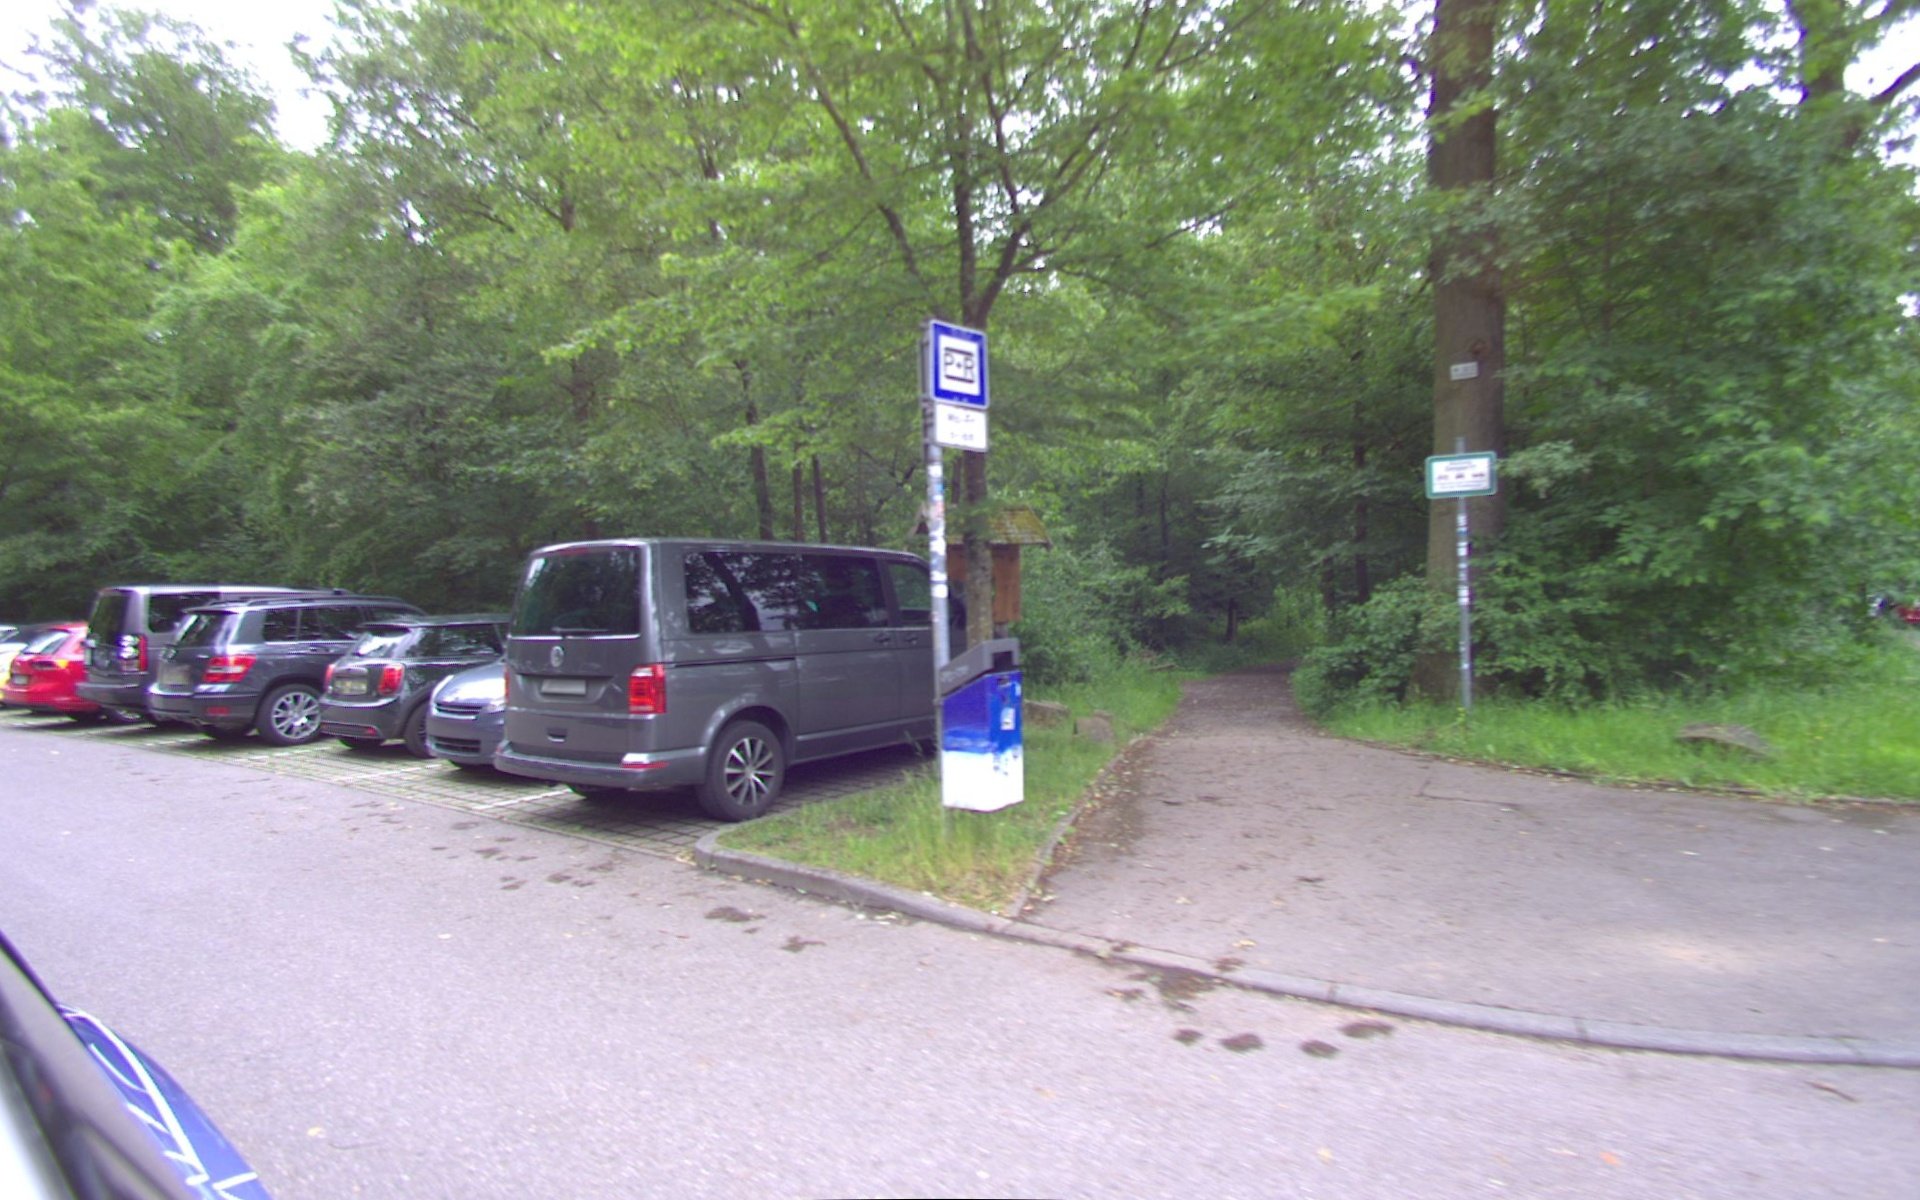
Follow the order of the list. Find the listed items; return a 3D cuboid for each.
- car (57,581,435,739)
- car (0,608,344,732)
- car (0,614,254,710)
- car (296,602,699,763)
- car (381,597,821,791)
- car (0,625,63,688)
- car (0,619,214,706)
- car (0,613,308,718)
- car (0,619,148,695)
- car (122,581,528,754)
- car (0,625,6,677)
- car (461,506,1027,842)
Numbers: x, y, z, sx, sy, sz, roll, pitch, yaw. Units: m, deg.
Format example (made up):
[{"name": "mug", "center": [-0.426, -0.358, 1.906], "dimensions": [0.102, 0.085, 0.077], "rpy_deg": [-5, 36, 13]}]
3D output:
[{"name": "car", "center": [-9.813, 0.727, 14.217], "dimensions": [1.808, 1.876, 3.955], "rpy_deg": [-2, -1, 33]}, {"name": "car", "center": [-11.908, 0.952, 15.384], "dimensions": [1.773, 1.487, 3.958], "rpy_deg": [-2, 0, 31]}, {"name": "car", "center": [-15.693, 1.076, 18.744], "dimensions": [1.613, 1.449, 3.955], "rpy_deg": [-2, 0, 33]}, {"name": "car", "center": [-5.175, 0.815, 11.825], "dimensions": [1.716, 1.441, 3.954], "rpy_deg": [-2, 0, 34]}, {"name": "car", "center": [-3.363, 0.766, 10.081], "dimensions": [1.805, 1.524, 3.781], "rpy_deg": [-2, -1, 36]}, {"name": "car", "center": [-24.138, 1.410, 24.006], "dimensions": [1.710, 1.478, 3.956], "rpy_deg": [-2, 0, 33]}, {"name": "car", "center": [-17.537, 1.200, 20.150], "dimensions": [1.729, 1.449, 3.955], "rpy_deg": [-2, 0, 33]}, {"name": "car", "center": [-13.744, 1.025, 17.375], "dimensions": [1.665, 1.449, 3.958], "rpy_deg": [-2, 0, 31]}, {"name": "car", "center": [-19.953, 1.223, 21.427], "dimensions": [1.710, 1.449, 3.955], "rpy_deg": [-2, 0, 33]}, {"name": "car", "center": [-7.815, 0.703, 12.837], "dimensions": [1.818, 1.779, 3.957], "rpy_deg": [-2, 0, 32]}, {"name": "car", "center": [-28.185, 1.439, 26.834], "dimensions": [1.673, 1.446, 3.952], "rpy_deg": [-2, -1, 35]}, {"name": "car", "center": [-1.447, 0.458, 8.393], "dimensions": [1.887, 1.993, 4.462], "rpy_deg": [-2, -1, 36]}]
